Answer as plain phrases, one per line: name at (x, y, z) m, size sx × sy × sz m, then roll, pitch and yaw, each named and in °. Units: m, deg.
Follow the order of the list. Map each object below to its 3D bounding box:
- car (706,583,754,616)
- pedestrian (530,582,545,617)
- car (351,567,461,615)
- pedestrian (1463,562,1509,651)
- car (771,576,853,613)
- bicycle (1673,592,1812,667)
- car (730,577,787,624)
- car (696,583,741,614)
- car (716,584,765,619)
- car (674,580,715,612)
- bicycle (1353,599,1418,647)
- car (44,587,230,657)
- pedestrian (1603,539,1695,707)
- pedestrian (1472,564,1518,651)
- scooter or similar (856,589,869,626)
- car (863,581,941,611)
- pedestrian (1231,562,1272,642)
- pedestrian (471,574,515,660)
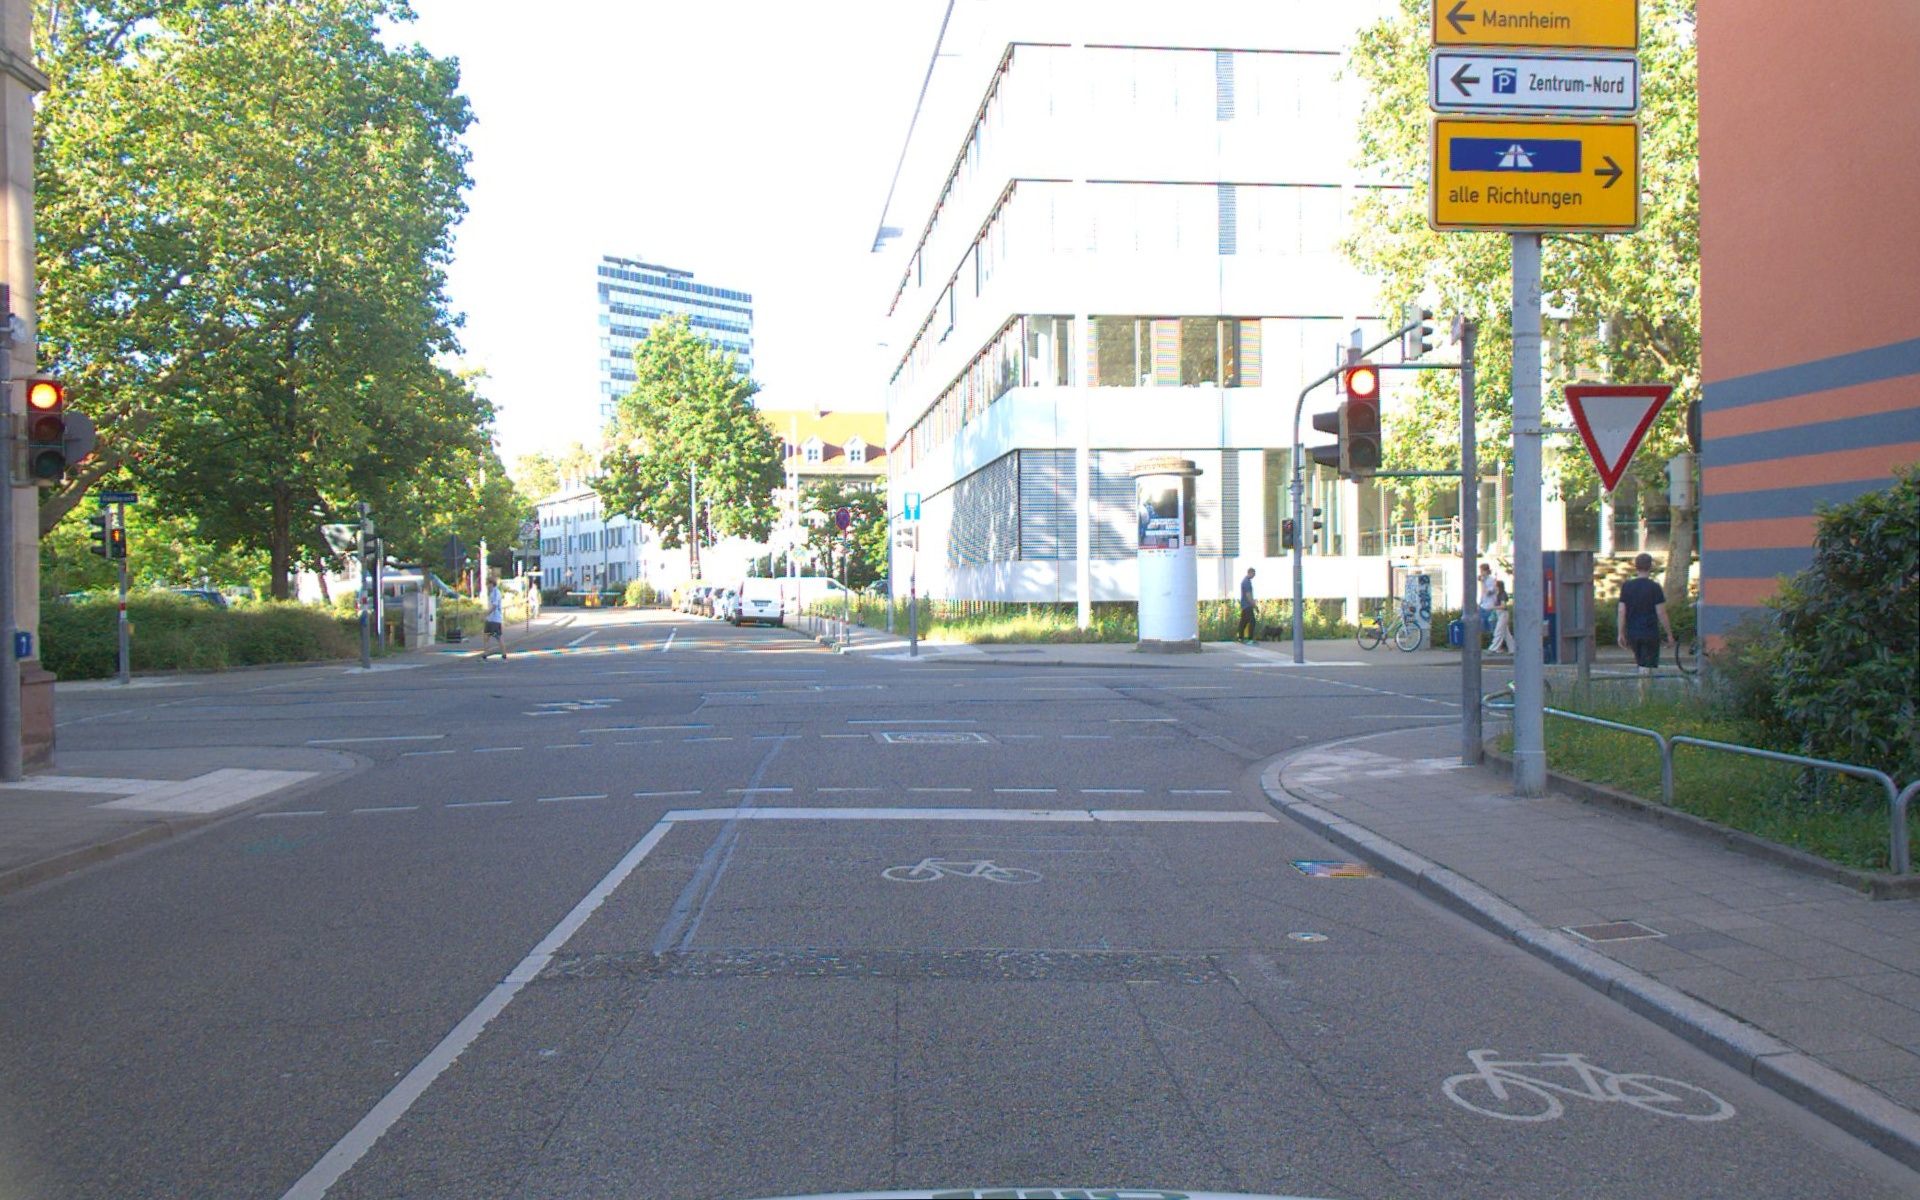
car at (-11.307, -0.011, 81.062) m, size 1.959 × 1.525 × 4.272 m, roll 1°, pitch 0°, yaw -13°
pedestrian at (-20.170, -0.024, 78.968) m, size 0.688 × 1.614 × 0.634 m, roll 1°, pitch -1°, yaw -16°
car at (-24.962, -0.385, 74.660) m, size 4.363 × 2.049 × 1.995 m, roll 1°, pitch 0°, yaw -10°
pedestrian at (11.013, 0.134, 34.656) m, size 0.749 × 1.826 × 0.648 m, roll 1°, pitch -1°, yaw 2°
car at (-9.199, -0.355, 102.776) m, size 4.718 × 2.196 × 1.990 m, roll 1°, pitch 0°, yaw -18°
bicycle at (12.520, 0.467, 26.506) m, size 1.922 × 1.172 × 0.593 m, roll -1°, pitch 0°, yaw 5°
car at (-7.916, 0.014, 64.681) m, size 1.957 × 1.755 × 4.641 m, roll 1°, pitch 0°, yaw -10°
car at (-12.550, -0.053, 85.768) m, size 1.959 × 1.525 × 4.637 m, roll 1°, pitch 0°, yaw -13°
car at (-10.194, 0.057, 76.631) m, size 1.958 × 1.525 × 4.639 m, roll 1°, pitch 0°, yaw -11°
car at (-15.383, -0.214, 95.583) m, size 1.960 × 1.755 × 4.635 m, roll 1°, pitch 0°, yaw -14°
bicycle at (9.323, 0.503, 36.261) m, size 0.376 × 1.026 × 1.410 m, roll -1°, pitch 0°, yaw -42°
car at (-18.366, 0.490, 37.043) m, size 3.347 × 1.483 × 1.646 m, roll 1°, pitch 0°, yaw -11°
pedestrian at (7.764, 0.258, 18.629) m, size 0.712 × 1.842 × 0.692 m, roll 1°, pitch -1°, yaw -38°
pedestrian at (10.978, 0.149, 33.956) m, size 0.749 × 1.749 × 0.648 m, roll 1°, pitch -1°, yaw 2°
scooter or similar at (-3.428, 0.265, 58.214) m, size 0.429 × 1.278 × 1.418 m, roll -1°, pitch 0°, yaw -5°
car at (-3.674, -0.241, 104.702) m, size 4.563 × 1.755 × 1.991 m, roll 1°, pitch 0°, yaw -17°
pedestrian at (6.853, 0.050, 38.919) m, size 0.894 × 1.847 × 0.762 m, roll 1°, pitch -1°, yaw 6°
pedestrian at (-10.478, 0.387, 37.132) m, size 0.899 × 1.901 × 0.739 m, roll 1°, pitch -1°, yaw -15°
